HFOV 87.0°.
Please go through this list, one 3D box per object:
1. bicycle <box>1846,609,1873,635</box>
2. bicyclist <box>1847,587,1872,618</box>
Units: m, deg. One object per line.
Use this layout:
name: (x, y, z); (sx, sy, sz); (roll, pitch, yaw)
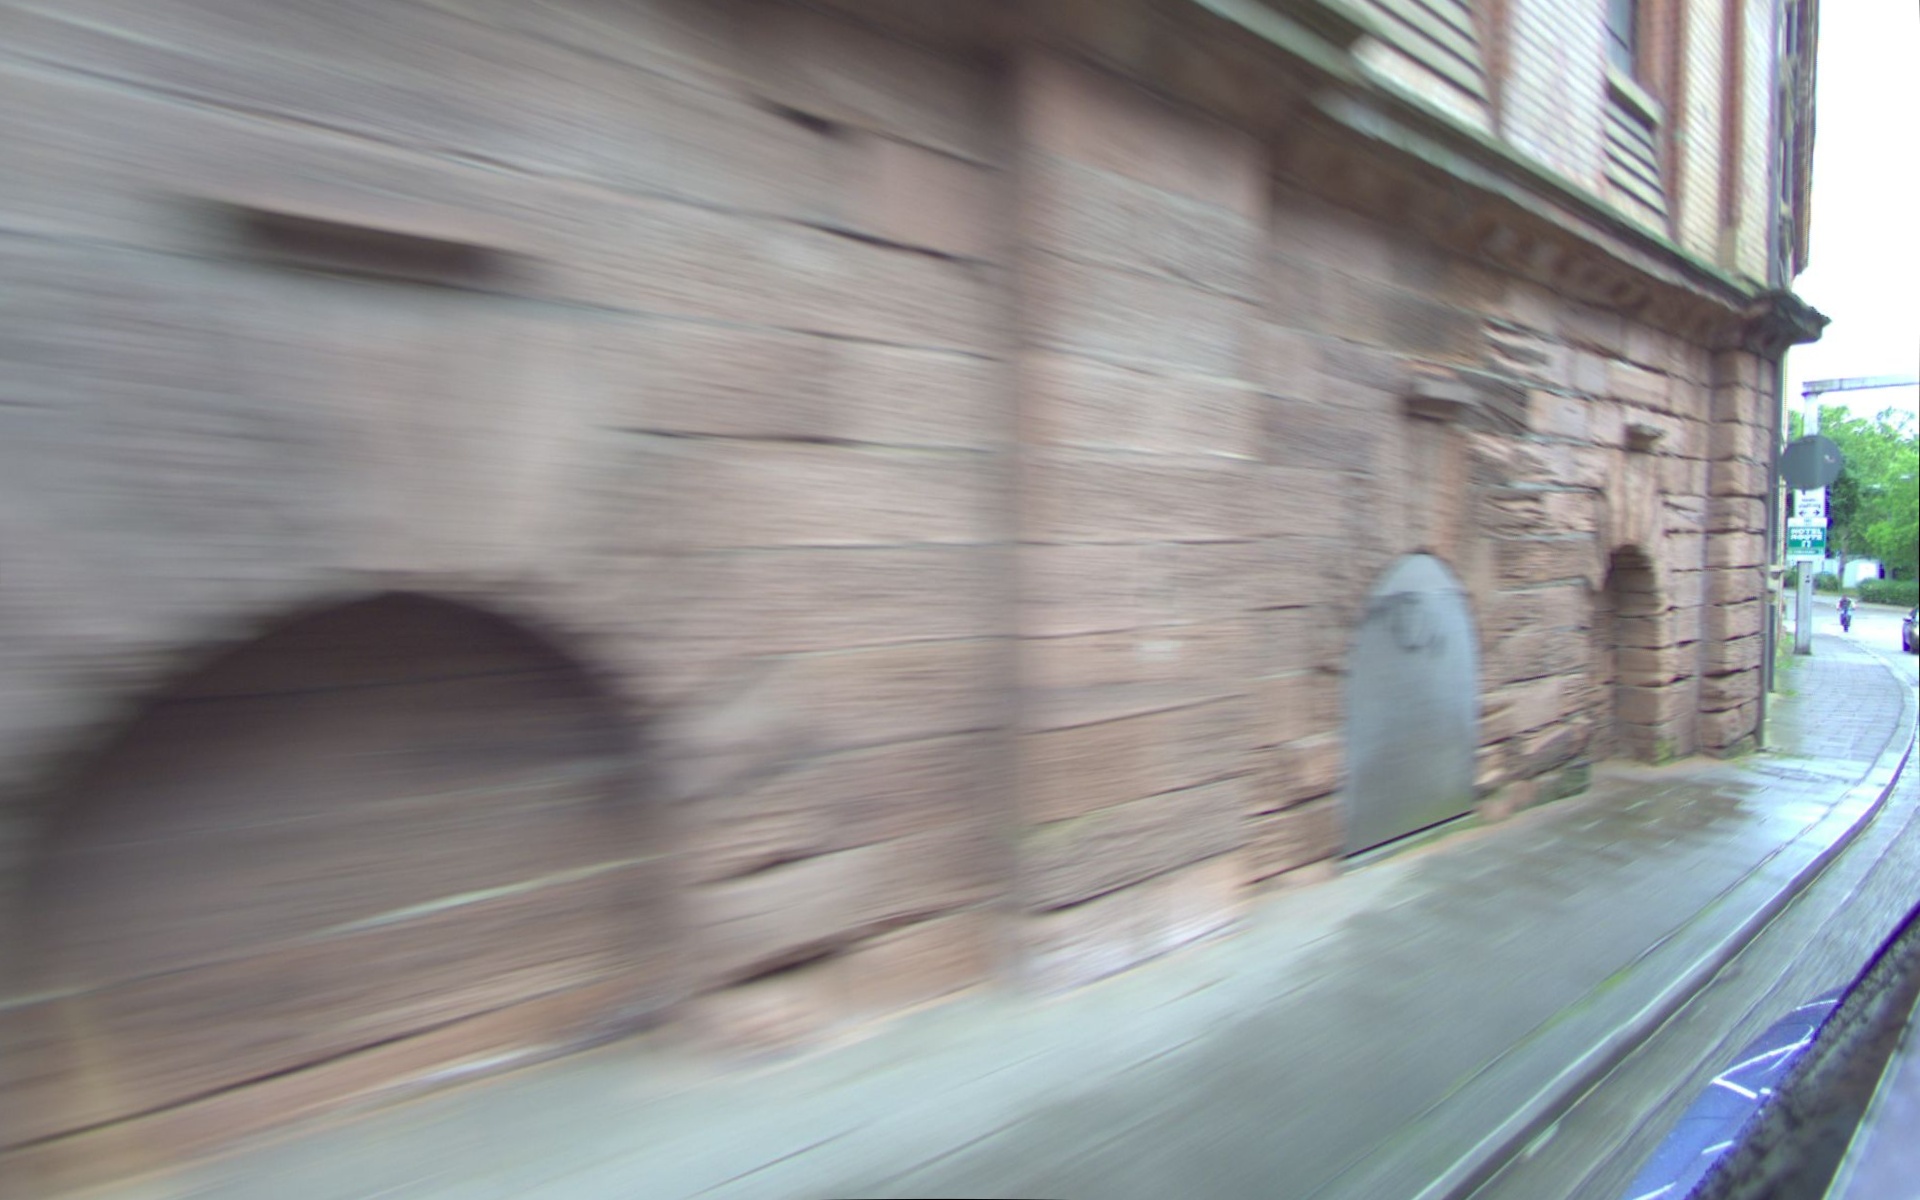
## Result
bicycle: (45.715, 1.100, 51.454); (0.884, 1.202, 2.104); (1, 1, 38)
bicyclist: (45.652, 0.112, 51.366); (0.884, 1.508, 0.955); (1, 1, 39)
